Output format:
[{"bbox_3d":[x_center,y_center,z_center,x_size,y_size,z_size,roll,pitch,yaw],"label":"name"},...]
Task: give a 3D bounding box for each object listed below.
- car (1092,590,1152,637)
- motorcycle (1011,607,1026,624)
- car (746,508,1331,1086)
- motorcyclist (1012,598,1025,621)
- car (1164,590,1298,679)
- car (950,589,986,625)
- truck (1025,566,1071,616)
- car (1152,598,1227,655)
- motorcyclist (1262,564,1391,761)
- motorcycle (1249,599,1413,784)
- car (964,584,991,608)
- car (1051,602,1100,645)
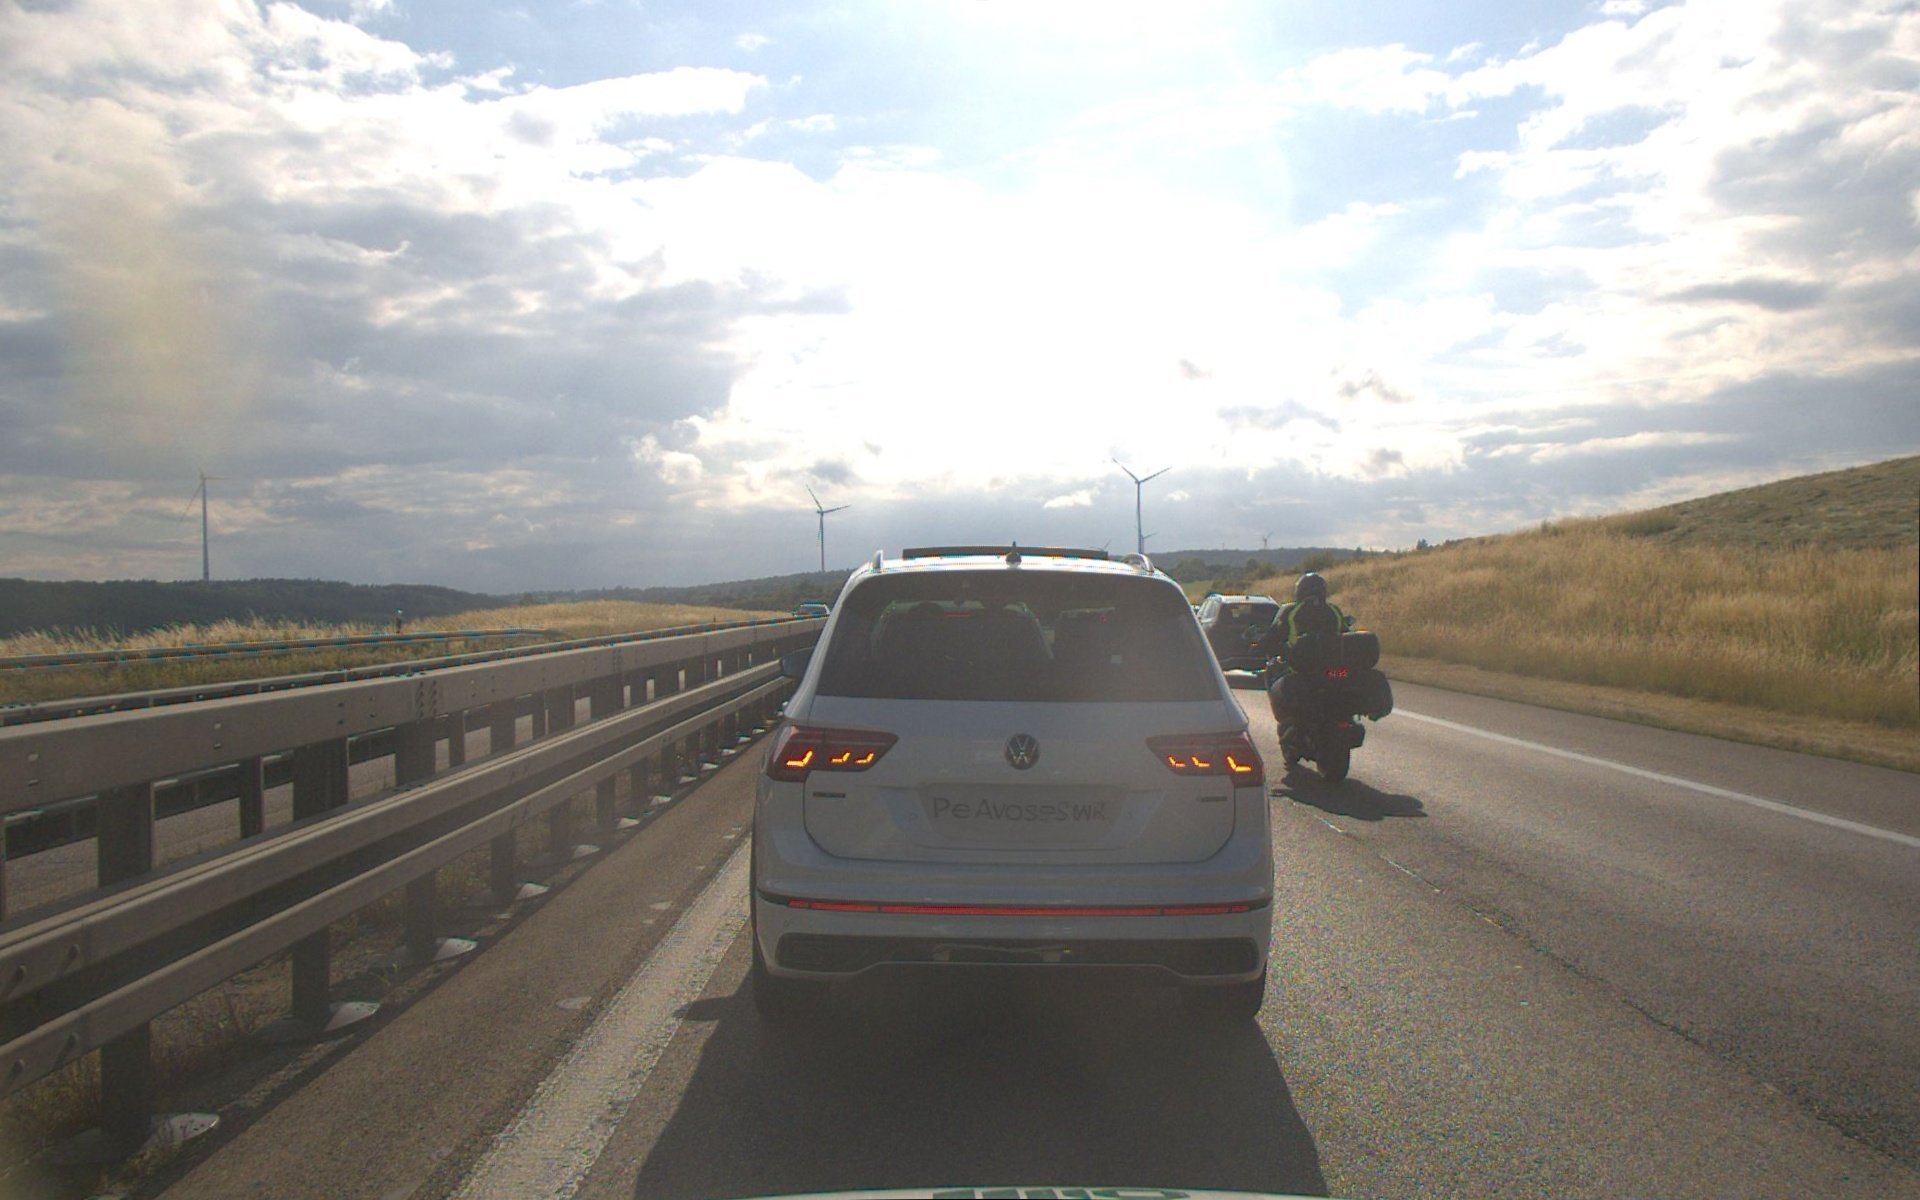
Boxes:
[{"bbox_3d":[5.595,0.447,57.513,1.669,1.573,3.999,0,0,-1],"label":"car"},{"bbox_3d":[4.024,1.067,113.796,0.877,1.211,2.256,0,0,-1],"label":"motorcycle"},{"bbox_3d":[0.212,0.593,6.908,1.734,1.705,3.999,0,0,-1],"label":"car"},{"bbox_3d":[4.028,0.628,113.754,0.832,1.587,0.934,0,-1,-1],"label":"motorcyclist"},{"bbox_3d":[5.372,0.666,33.298,1.784,1.629,4.232,2,0,-3],"label":"car"},{"bbox_3d":[0.365,0.344,80.166,1.669,1.679,3.999,0,0,-1],"label":"car"},{"bbox_3d":[6.677,-0.687,127.210,3.118,3.656,11.132,0,0,1],"label":"truck"},{"bbox_3d":[6.021,0.684,43.614,1.572,1.445,3.673,0,0,2],"label":"car"},{"bbox_3d":[3.166,0.527,14.360,0.877,1.645,1.022,0,-1,-1],"label":"motorcyclist"},{"bbox_3d":[3.170,0.738,14.376,0.877,1.481,2.268,0,0,-1],"label":"motorcycle"},{"bbox_3d":[1.136,-0.267,110.088,1.669,1.573,3.999,0,0,-1],"label":"car"},{"bbox_3d":[4.622,0.931,66.608,1.669,1.679,3.999,0,0,-1],"label":"car"}]
